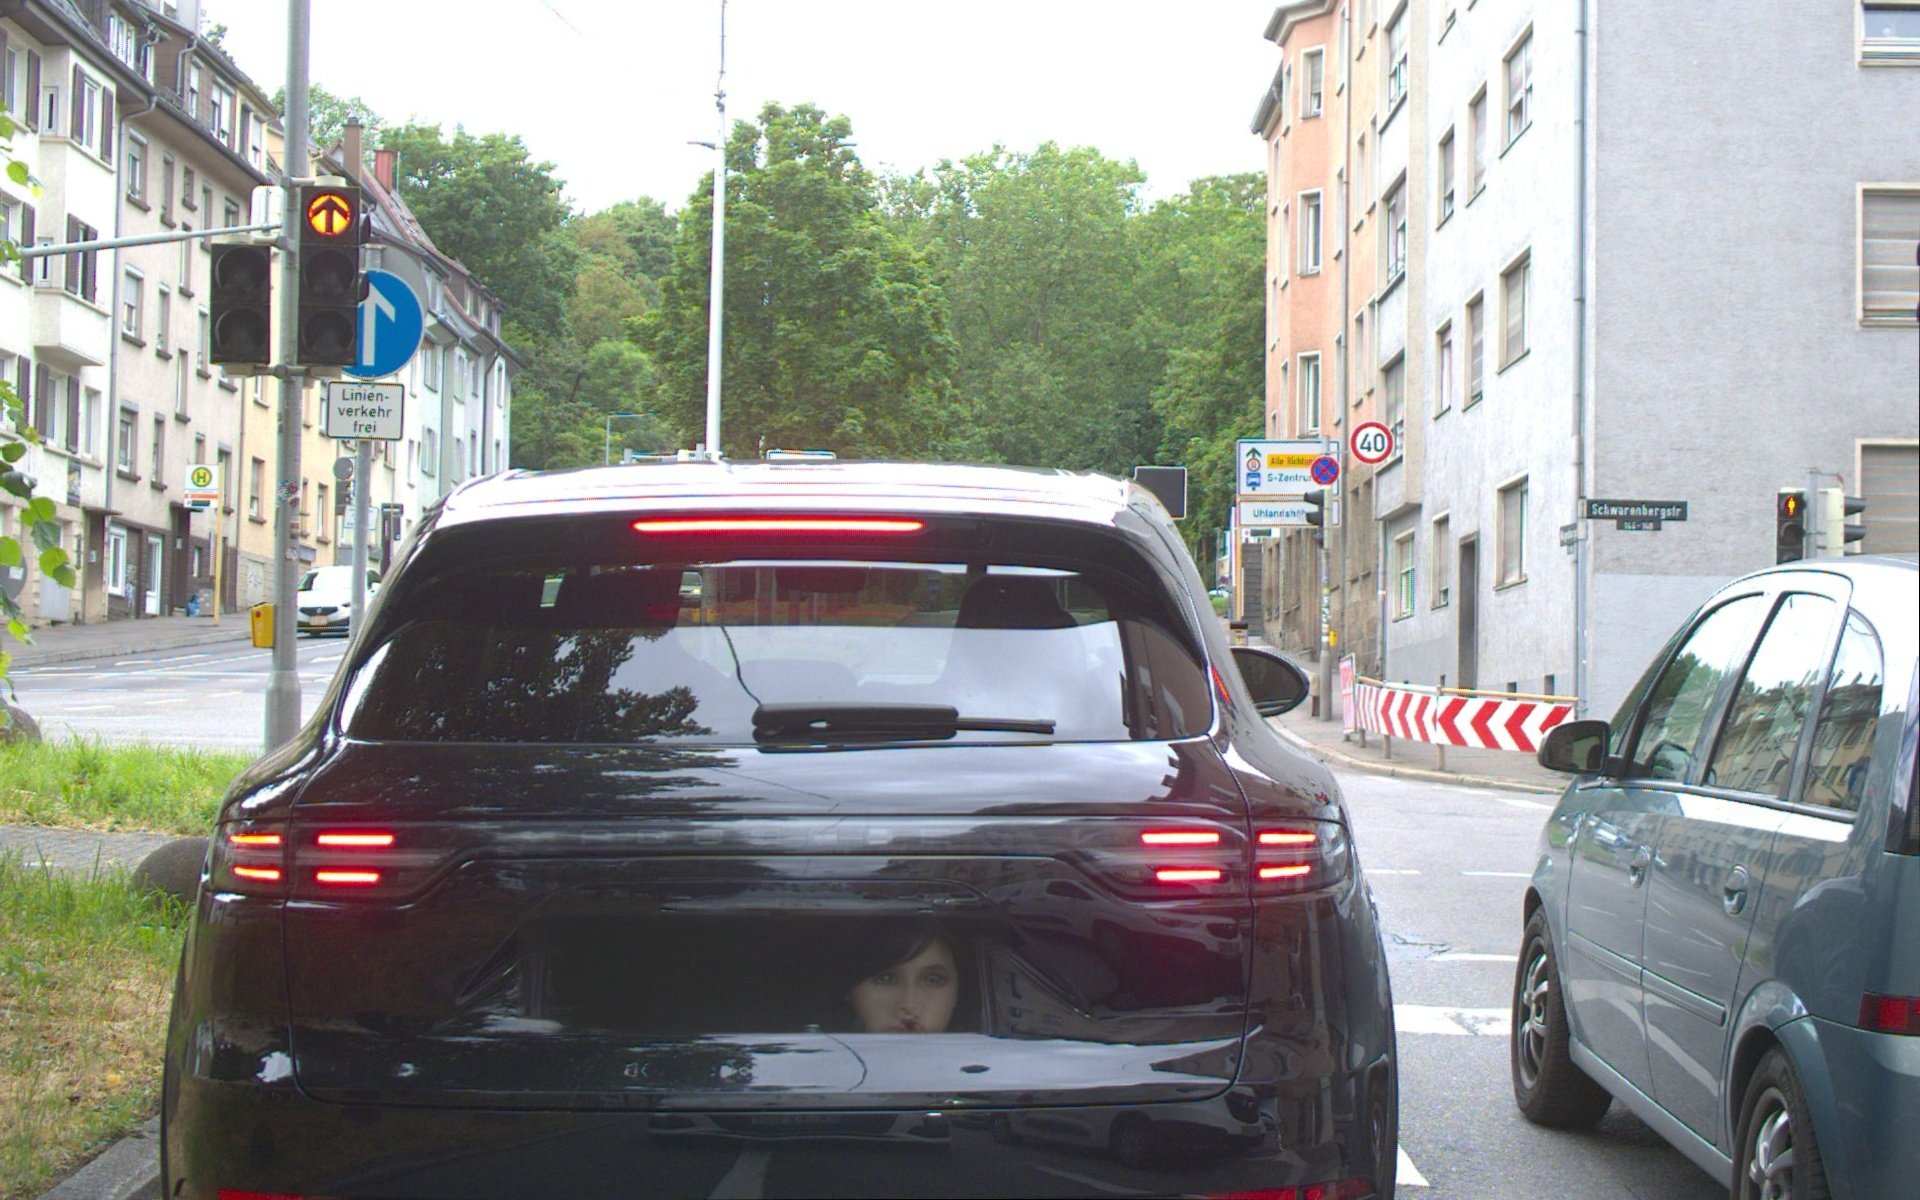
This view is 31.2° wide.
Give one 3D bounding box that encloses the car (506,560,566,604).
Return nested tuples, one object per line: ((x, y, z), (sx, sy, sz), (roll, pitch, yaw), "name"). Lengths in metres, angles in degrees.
((-15.398, -0.664, 125.012), (1.689, 1.533, 3.814), (1, 1, 0), "car")

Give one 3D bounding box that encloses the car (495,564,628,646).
((-6.976, 0.063, 60.557), (1.862, 1.383, 4.094), (1, 1, 0), "car")

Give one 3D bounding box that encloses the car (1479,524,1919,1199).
((2.350, 0.695, 7.878), (1.628, 1.592, 3.669), (4, 1, -1), "car")

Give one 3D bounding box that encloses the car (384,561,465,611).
((-15.399, -0.416, 98.939), (1.739, 1.382, 3.814), (1, 1, 0), "car")

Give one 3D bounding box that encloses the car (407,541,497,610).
((-15.417, -0.756, 104.538), (2.016, 2.038, 4.667), (1, 1, 0), "car")

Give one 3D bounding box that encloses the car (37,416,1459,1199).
((-0.315, 0.563, 6.737), (1.955, 1.669, 4.000), (0, 1, -1), "car")

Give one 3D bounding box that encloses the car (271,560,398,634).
((-12.934, -0.079, 71.309), (1.844, 1.481, 3.898), (1, 1, 1), "car")

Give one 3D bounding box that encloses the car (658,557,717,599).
((-9.862, -0.783, 124.462), (1.619, 1.475, 3.823), (1, -1, 3), "car")

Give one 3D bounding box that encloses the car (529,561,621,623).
((-10.349, -0.234, 92.725), (1.974, 1.605, 4.558), (1, 1, 0), "car")
